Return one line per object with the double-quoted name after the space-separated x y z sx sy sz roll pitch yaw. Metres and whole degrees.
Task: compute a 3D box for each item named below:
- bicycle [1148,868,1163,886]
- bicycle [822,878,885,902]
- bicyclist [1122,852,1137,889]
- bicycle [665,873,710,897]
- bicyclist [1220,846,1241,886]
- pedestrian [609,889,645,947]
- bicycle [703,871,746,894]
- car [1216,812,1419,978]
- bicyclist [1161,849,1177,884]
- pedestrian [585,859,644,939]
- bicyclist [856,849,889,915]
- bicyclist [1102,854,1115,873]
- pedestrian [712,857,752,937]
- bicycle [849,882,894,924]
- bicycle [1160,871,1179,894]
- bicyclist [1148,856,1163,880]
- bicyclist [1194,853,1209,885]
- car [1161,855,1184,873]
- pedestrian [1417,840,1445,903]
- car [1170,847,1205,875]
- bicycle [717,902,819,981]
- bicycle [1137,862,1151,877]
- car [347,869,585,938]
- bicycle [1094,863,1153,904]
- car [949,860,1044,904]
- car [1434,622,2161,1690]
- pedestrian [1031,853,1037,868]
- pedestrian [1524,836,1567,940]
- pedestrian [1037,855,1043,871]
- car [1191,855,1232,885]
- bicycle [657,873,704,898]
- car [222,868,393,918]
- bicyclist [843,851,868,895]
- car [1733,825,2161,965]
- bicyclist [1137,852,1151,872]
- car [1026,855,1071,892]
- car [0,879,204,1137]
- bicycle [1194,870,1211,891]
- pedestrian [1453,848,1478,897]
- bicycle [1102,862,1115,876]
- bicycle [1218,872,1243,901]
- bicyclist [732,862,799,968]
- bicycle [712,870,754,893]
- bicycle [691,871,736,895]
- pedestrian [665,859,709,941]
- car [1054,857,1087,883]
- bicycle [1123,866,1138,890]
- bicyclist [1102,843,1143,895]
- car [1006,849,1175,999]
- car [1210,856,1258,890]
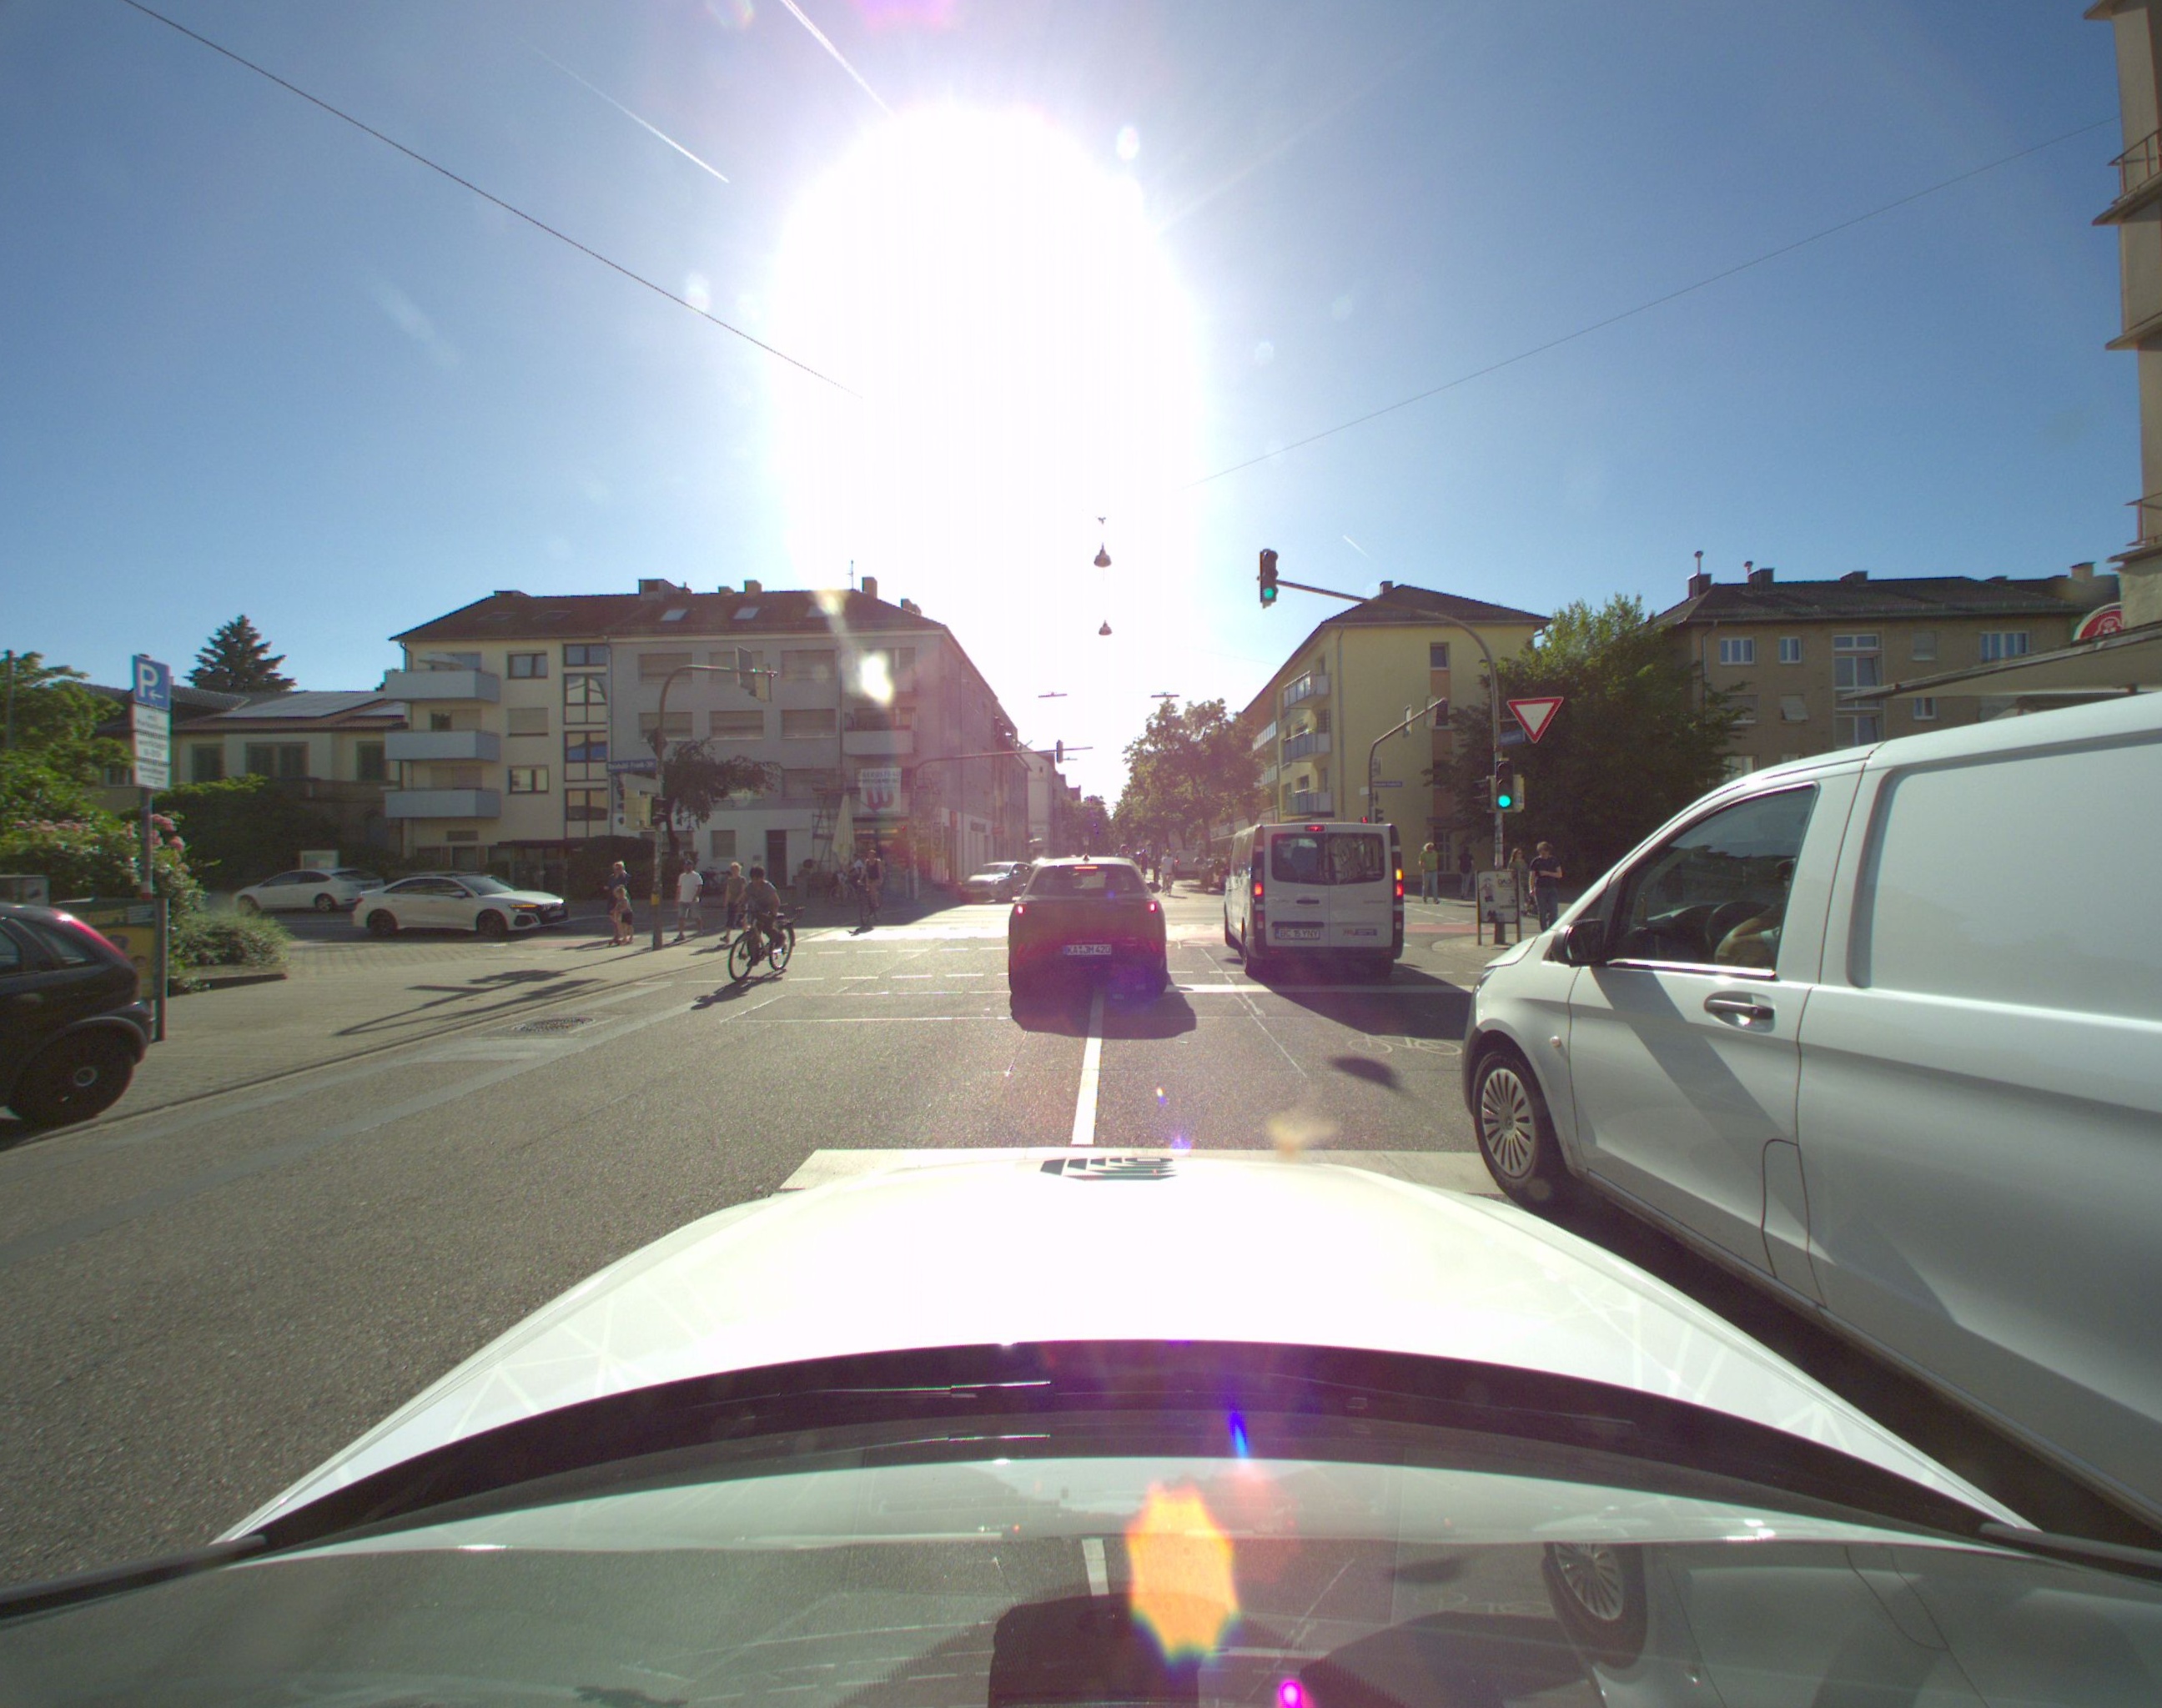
3.731 1.132 40.879 0.688 0.866 1.878 -1 0 3 "bicycle"
-8.182 1.304 29.389 2.124 0.833 0.553 0 0 -9 "bicycle"
2.239 0.738 37.785 0.630 1.669 1.051 -2 0 2 "bicyclist"
-15.848 1.251 32.826 1.582 0.940 0.513 -1 0 3 "bicycle"
4.824 0.372 26.342 0.544 1.262 0.803 -1 0 3 "bicyclist"
-9.356 1.318 16.784 0.383 1.146 0.533 -1 0 10 "pedestrian"
-15.123 1.207 34.556 1.582 0.940 0.513 -1 0 3 "bicycle"
3.201 0.499 12.129 1.959 1.940 5.062 0 0 5 "car"
3.468 0.494 32.208 0.586 1.382 0.823 -1 0 3 "bicyclist"
-10.160 0.958 17.774 0.568 1.683 0.973 -1 0 17 "pedestrian"
-4.989 0.655 19.487 0.540 1.520 0.774 -1 0 2 "bicyclist"
1.919 0.649 56.079 0.853 1.314 1.211 1 0 1 "bicyclist"
-7.062 0.852 16.498 0.529 1.581 0.563 -1 0 4 "pedestrian"
-4.993 1.150 19.479 0.540 0.902 1.827 -1 0 2 "bicycle"
3.480 1.114 32.215 0.617 0.866 1.878 -1 0 3 "bicycle"
3.728 0.712 40.803 0.689 1.193 0.595 -1 0 3 "bicyclist"
5.278 0.646 35.592 0.544 1.382 0.823 -1 0 3 "bicyclist"
7.781 0.823 69.301 1.706 1.483 3.383 -1 0 2 "car"
10.029 0.488 23.346 0.524 1.762 0.623 -1 0 0 "pedestrian"
7.348 0.486 56.534 2.037 1.846 4.588 -1 0 3 "car"
-4.302 1.175 11.346 0.540 0.902 1.829 -1 0 6 "bicycle"
4.239 1.056 54.950 0.853 0.945 2.308 1 0 2 "bicycle"
-14.654 1.153 19.563 4.235 1.435 1.937 0 3 3 "car"
1.339 0.917 26.194 0.807 1.255 2.117 -1 0 -31 "bicycle"
-2.955 0.977 29.464 1.822 1.433 4.196 -1 0 19 "car"
2.810 0.505 1.830 1.961 1.810 4.833 -1 0 1 "car"
-4.736 0.671 81.402 0.575 1.467 0.702 -1 0 -4 "pedestrian"
8.396 0.605 14.743 0.598 1.822 0.632 -1 0 25 "pedestrian"
-4.156 0.905 81.576 0.575 1.583 0.707 -1 0 -4 "pedestrian"
6.801 0.825 42.624 1.706 1.483 3.383 -1 0 2 "car"
-15.834 1.250 32.224 1.582 0.940 0.513 -1 0 3 "bicycle"
-26.360 1.316 27.844 3.973 1.519 1.916 -1 1 1 "car"
-8.125 0.678 29.405 0.811 1.549 0.553 0 -1 -9 "bicyclist"
11.510 0.514 10.960 3.972 1.662 1.826 -1 0 2 "car"
4.246 0.543 54.870 0.853 1.314 1.211 1 0 1 "bicyclist"
-1.471 0.891 38.160 1.584 1.566 4.094 -2 -1 5 "car"
-7.148 0.911 3.881 1.685 1.448 3.856 1 0 0 "car"
5.289 1.147 35.443 0.544 0.866 1.878 -1 0 3 "bicycle"
12.630 0.594 26.750 0.537 1.571 0.539 -1 0 1 "pedestrian"
1.897 1.014 55.832 0.853 0.945 2.308 1 0 2 "bicycle"
4.847 1.050 26.480 0.544 0.866 1.878 -1 0 3 "bicycle"
-4.324 0.816 11.197 0.540 1.391 0.789 -1 0 5 "bicyclist"
-15.045 1.194 35.186 1.582 0.940 0.513 -1 0 3 "bicycle"
-15.223 1.200 33.745 1.582 0.940 0.513 -1 0 3 "bicycle"
-8.357 0.954 17.275 0.571 1.689 0.670 -1 0 2 "pedestrian"
-0.642 0.950 48.939 1.799 1.413 4.424 -3 0 -1 "car"
2.301 1.100 37.934 0.630 1.041 1.796 -2 0 2 "bicycle"
1.331 0.473 26.199 0.807 1.649 1.114 -1 0 -32 "bicyclist"
0.160 0.757 10.601 1.756 1.558 4.001 -1 0 2 "car"
7.089 0.831 38.120 1.706 1.483 3.482 -1 0 2 "car"
